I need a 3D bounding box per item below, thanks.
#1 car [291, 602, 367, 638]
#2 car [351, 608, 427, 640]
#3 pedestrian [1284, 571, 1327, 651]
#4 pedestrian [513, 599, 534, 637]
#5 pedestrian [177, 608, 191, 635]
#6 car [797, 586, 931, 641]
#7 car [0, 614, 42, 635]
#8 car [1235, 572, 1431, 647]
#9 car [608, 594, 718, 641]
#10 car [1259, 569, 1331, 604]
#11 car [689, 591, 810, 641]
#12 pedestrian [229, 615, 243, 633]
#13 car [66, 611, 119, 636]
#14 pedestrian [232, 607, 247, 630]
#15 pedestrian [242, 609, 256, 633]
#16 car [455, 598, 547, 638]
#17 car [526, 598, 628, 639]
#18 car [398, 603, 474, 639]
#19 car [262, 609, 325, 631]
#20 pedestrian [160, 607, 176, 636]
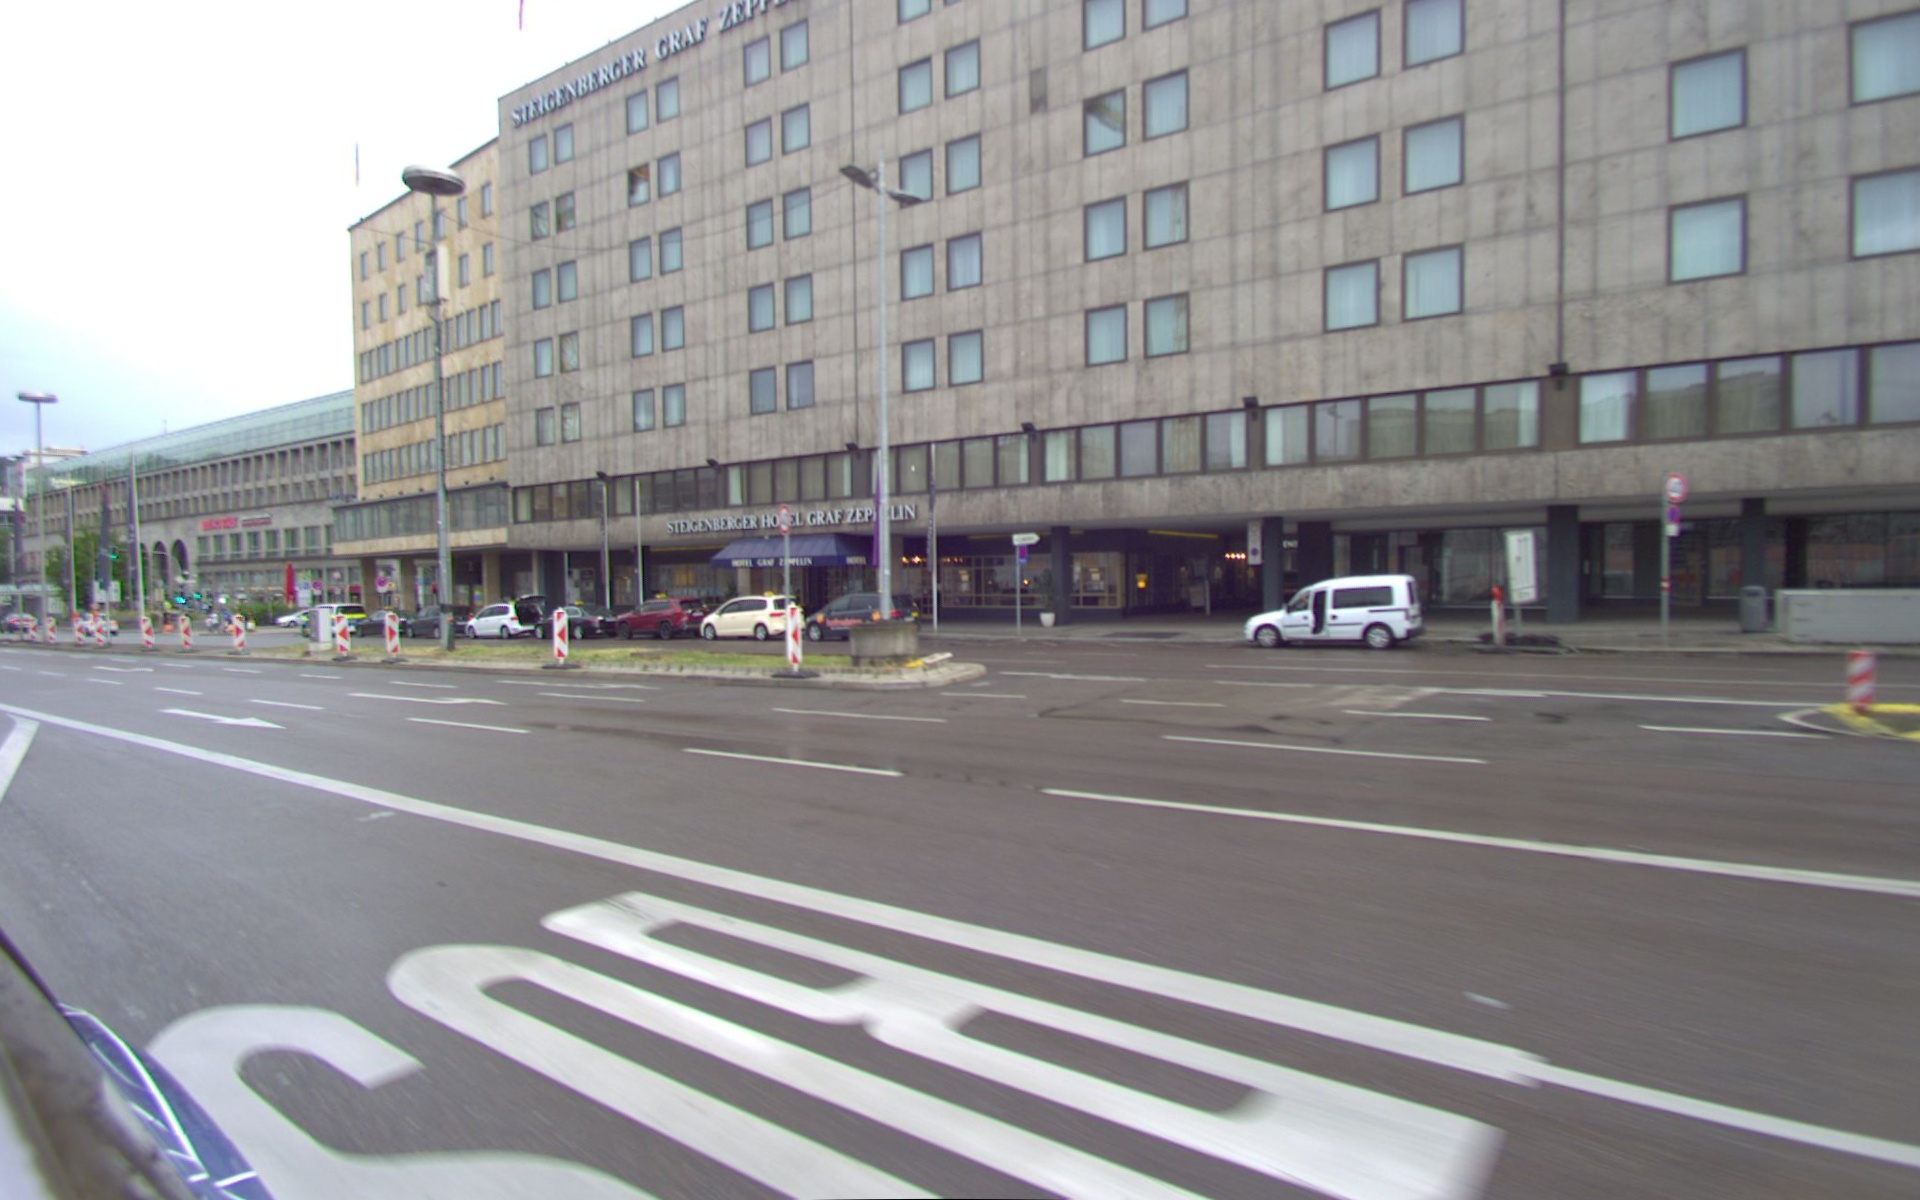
[{"bbox_3d":[-36.650,1.149,58.751,5.062,1.943,1.884,-2,-1,35],"label":"car"},{"bbox_3d":[-30.598,1.280,54.213,4.553,1.633,1.739,-1,0,35],"label":"car"},{"bbox_3d":[8.460,0.262,24.764,0.794,1.900,0.685,-1,0,34],"label":"pedestrian"},{"bbox_3d":[-20.869,0.848,48.344,0.657,1.794,0.616,0,3,36],"label":"pedestrian"},{"bbox_3d":[-55.924,1.552,72.960,0.750,1.939,0.584,-1,0,35],"label":"pedestrian"},{"bbox_3d":[-3.321,0.445,34.592,4.507,1.741,1.799,-1,1,37],"label":"car"},{"bbox_3d":[-78.356,2.006,84.447,4.492,1.682,1.758,-1,0,37],"label":"car"},{"bbox_3d":[9.404,0.236,25.671,4.361,1.776,1.759,-1,0,35],"label":"car"},{"bbox_3d":[-12.061,0.685,40.964,4.639,1.781,1.884,-1,1,37],"label":"car"},{"bbox_3d":[17.784,-0.717,53.577,2.265,1.741,4.817,-1,1,37],"label":"car"},{"bbox_3d":[-7.890,0.587,37.741,4.568,1.711,1.800,-1,1,35],"label":"car"},{"bbox_3d":[-51.091,1.690,71.376,0.751,1.301,0.558,-1,0,33],"label":"pedestrian"},{"bbox_3d":[-61.749,1.682,72.009,4.489,1.681,1.808,-1,1,35],"label":"car"},{"bbox_3d":[-50.835,1.310,71.426,0.679,1.604,0.659,-1,0,33],"label":"pedestrian"},{"bbox_3d":[-49.675,1.467,70.714,0.751,1.681,0.558,-1,0,33],"label":"pedestrian"},{"bbox_3d":[-21.624,0.833,47.631,4.699,1.771,1.739,-1,0,35],"label":"car"},{"bbox_3d":[-16.739,0.819,44.129,4.606,1.672,1.886,-1,0,36],"label":"car"},{"bbox_3d":[-26.308,1.061,50.758,4.222,1.694,1.738,-2,0,38],"label":"car"},{"bbox_3d":[-56.143,1.654,85.269,1.805,1.652,4.040,-1,1,40],"label":"car"},{"bbox_3d":[-57.545,1.556,73.548,0.805,2.029,0.697,-1,0,35],"label":"pedestrian"}]
